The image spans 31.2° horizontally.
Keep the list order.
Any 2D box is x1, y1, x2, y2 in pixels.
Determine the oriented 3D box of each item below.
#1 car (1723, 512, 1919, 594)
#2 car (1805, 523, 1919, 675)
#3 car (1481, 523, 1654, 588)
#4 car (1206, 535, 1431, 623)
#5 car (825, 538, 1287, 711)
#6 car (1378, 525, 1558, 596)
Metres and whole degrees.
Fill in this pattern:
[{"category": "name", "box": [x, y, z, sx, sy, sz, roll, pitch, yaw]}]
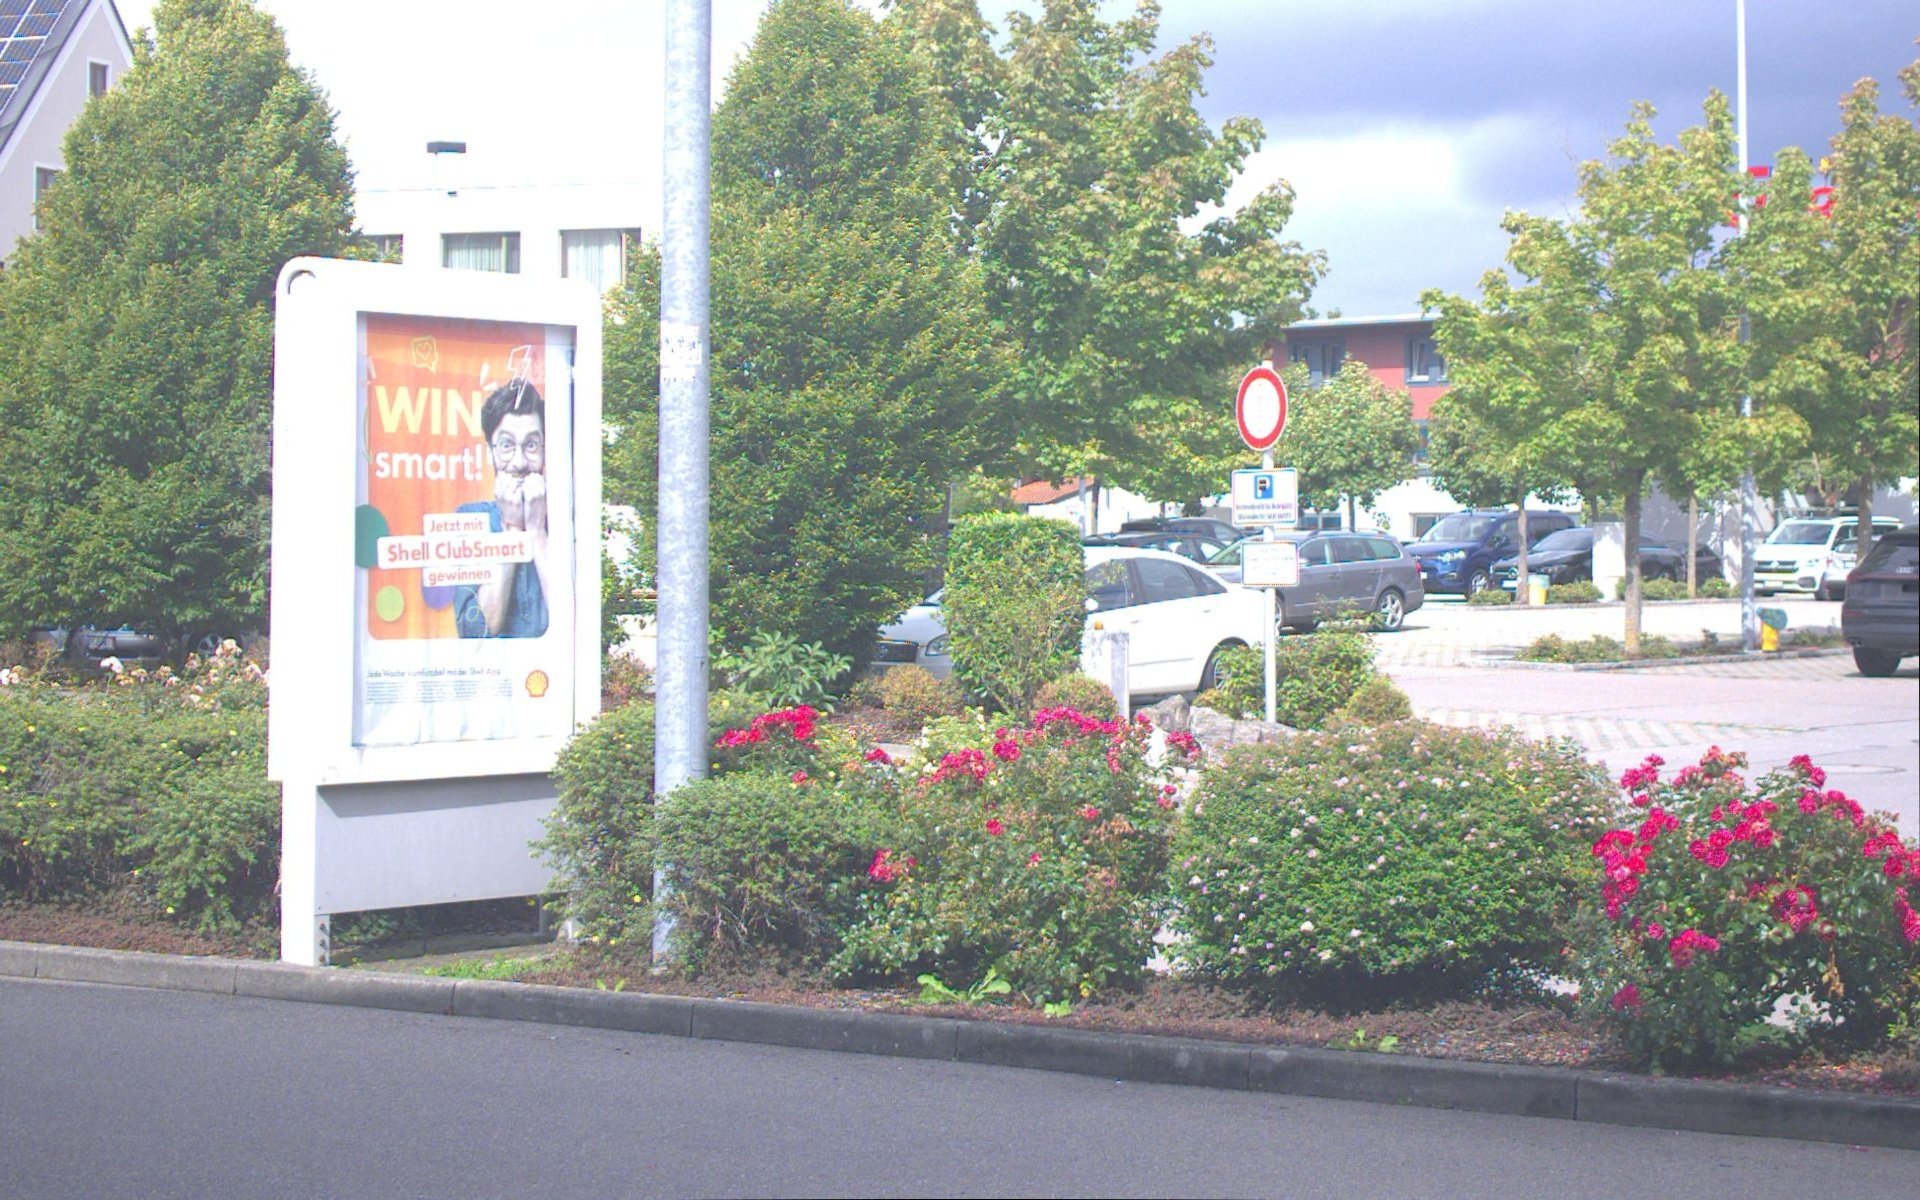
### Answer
[{"category": "car", "box": [20.247, -1.090, 80.650, 4.864, 1.827, 2.184, 0, 1, -43]}, {"category": "car", "box": [11.132, -0.009, 36.739, 4.491, 1.543, 1.885, 0, 1, -43]}, {"category": "car", "box": [11.514, -0.843, 65.044, 3.409, 1.174, 1.485, 0, 1, -44]}, {"category": "car", "box": [5.201, -0.294, 49.725, 3.218, 1.224, 1.505, 0, 1, -44]}, {"category": "car", "box": [0.902, 0.200, 29.936, 4.332, 1.399, 1.370, 0, 1, -44]}, {"category": "car", "box": [9.886, -0.763, 66.792, 3.379, 1.316, 1.747, 0, 1, -44]}]
